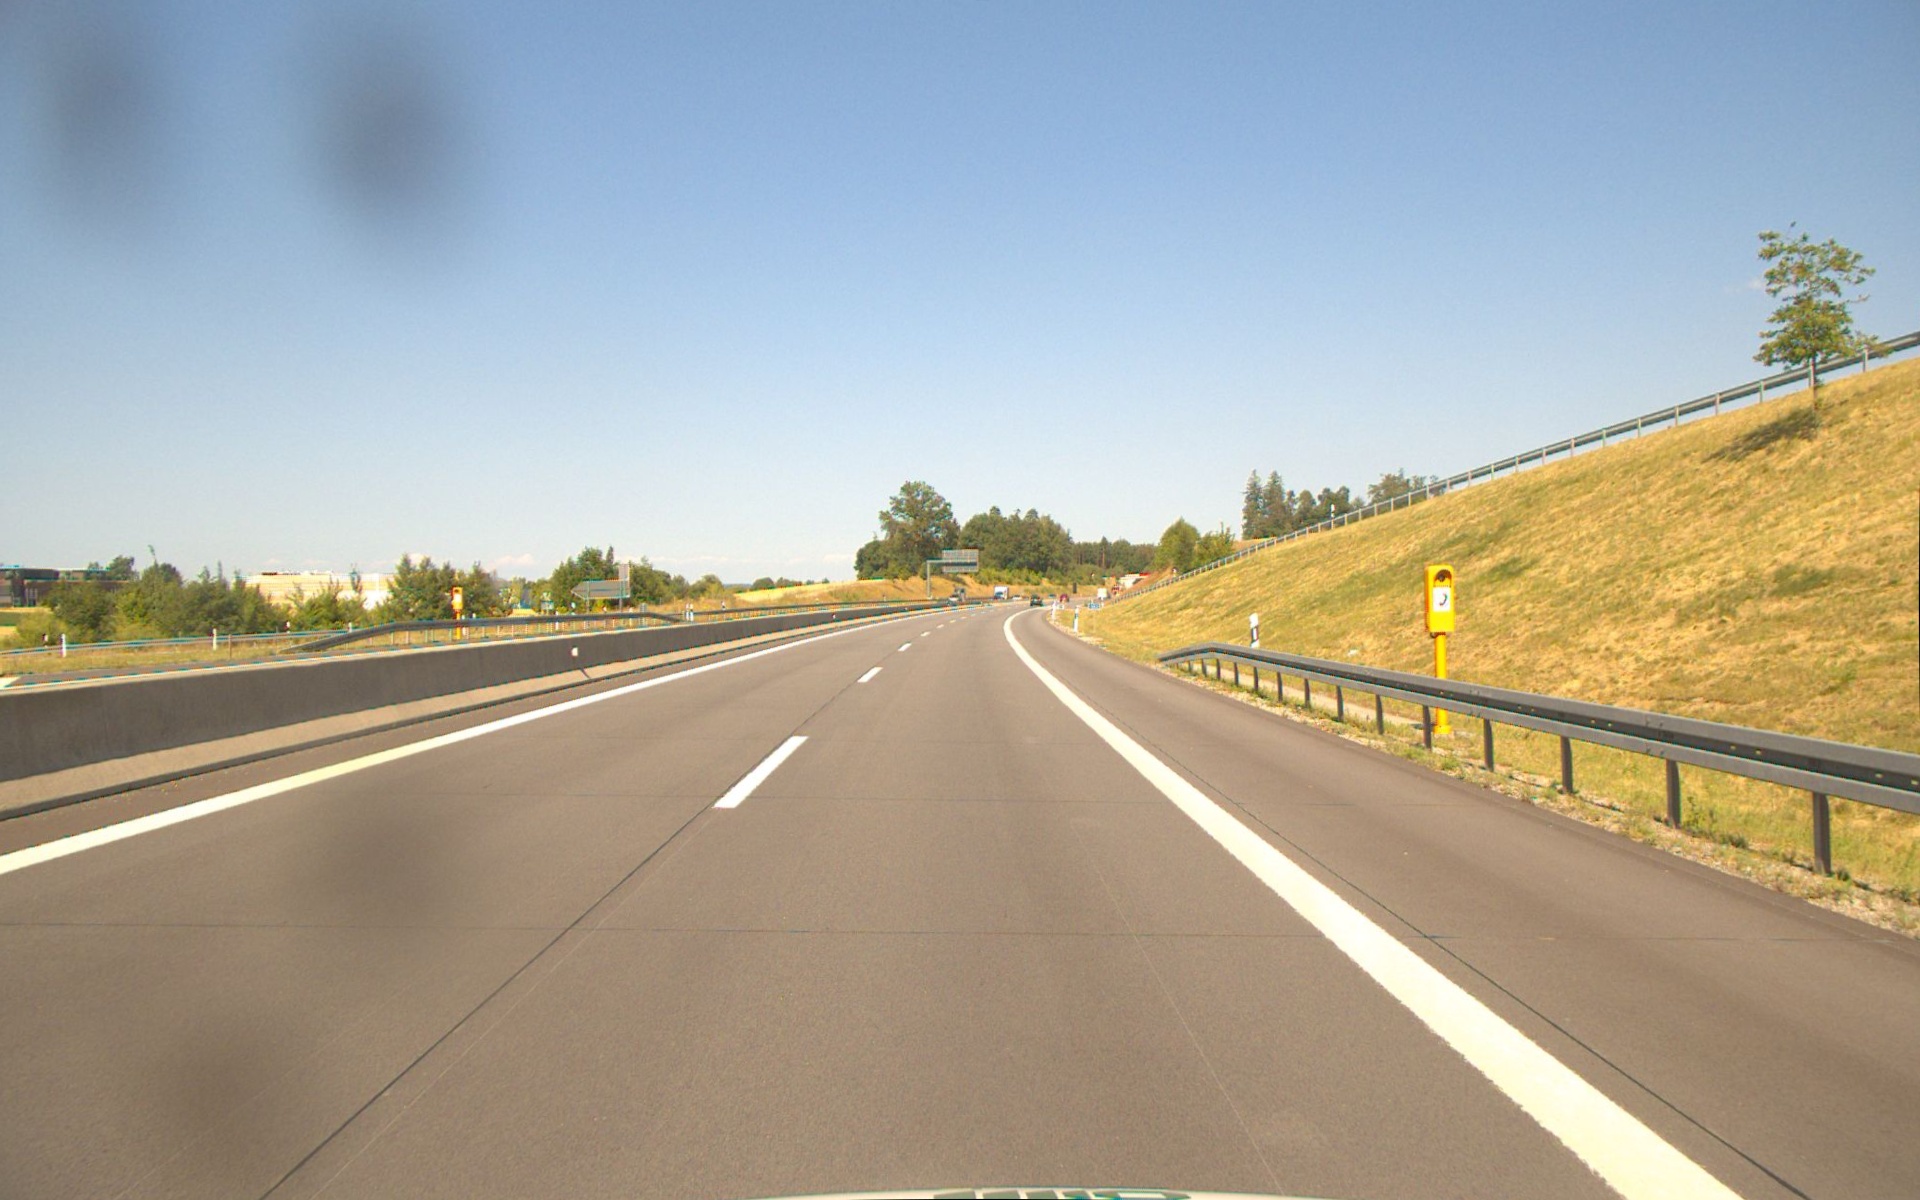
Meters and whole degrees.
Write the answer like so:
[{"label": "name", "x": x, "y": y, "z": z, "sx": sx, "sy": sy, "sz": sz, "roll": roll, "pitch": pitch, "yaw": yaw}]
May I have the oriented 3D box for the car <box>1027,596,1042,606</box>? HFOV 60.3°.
[{"label": "car", "x": 11.212, "y": 0.163, "z": 247.646, "sx": 1.951, "sy": 1.445, "sz": 4.003, "roll": -2, "pitch": 0, "yaw": 6}]
